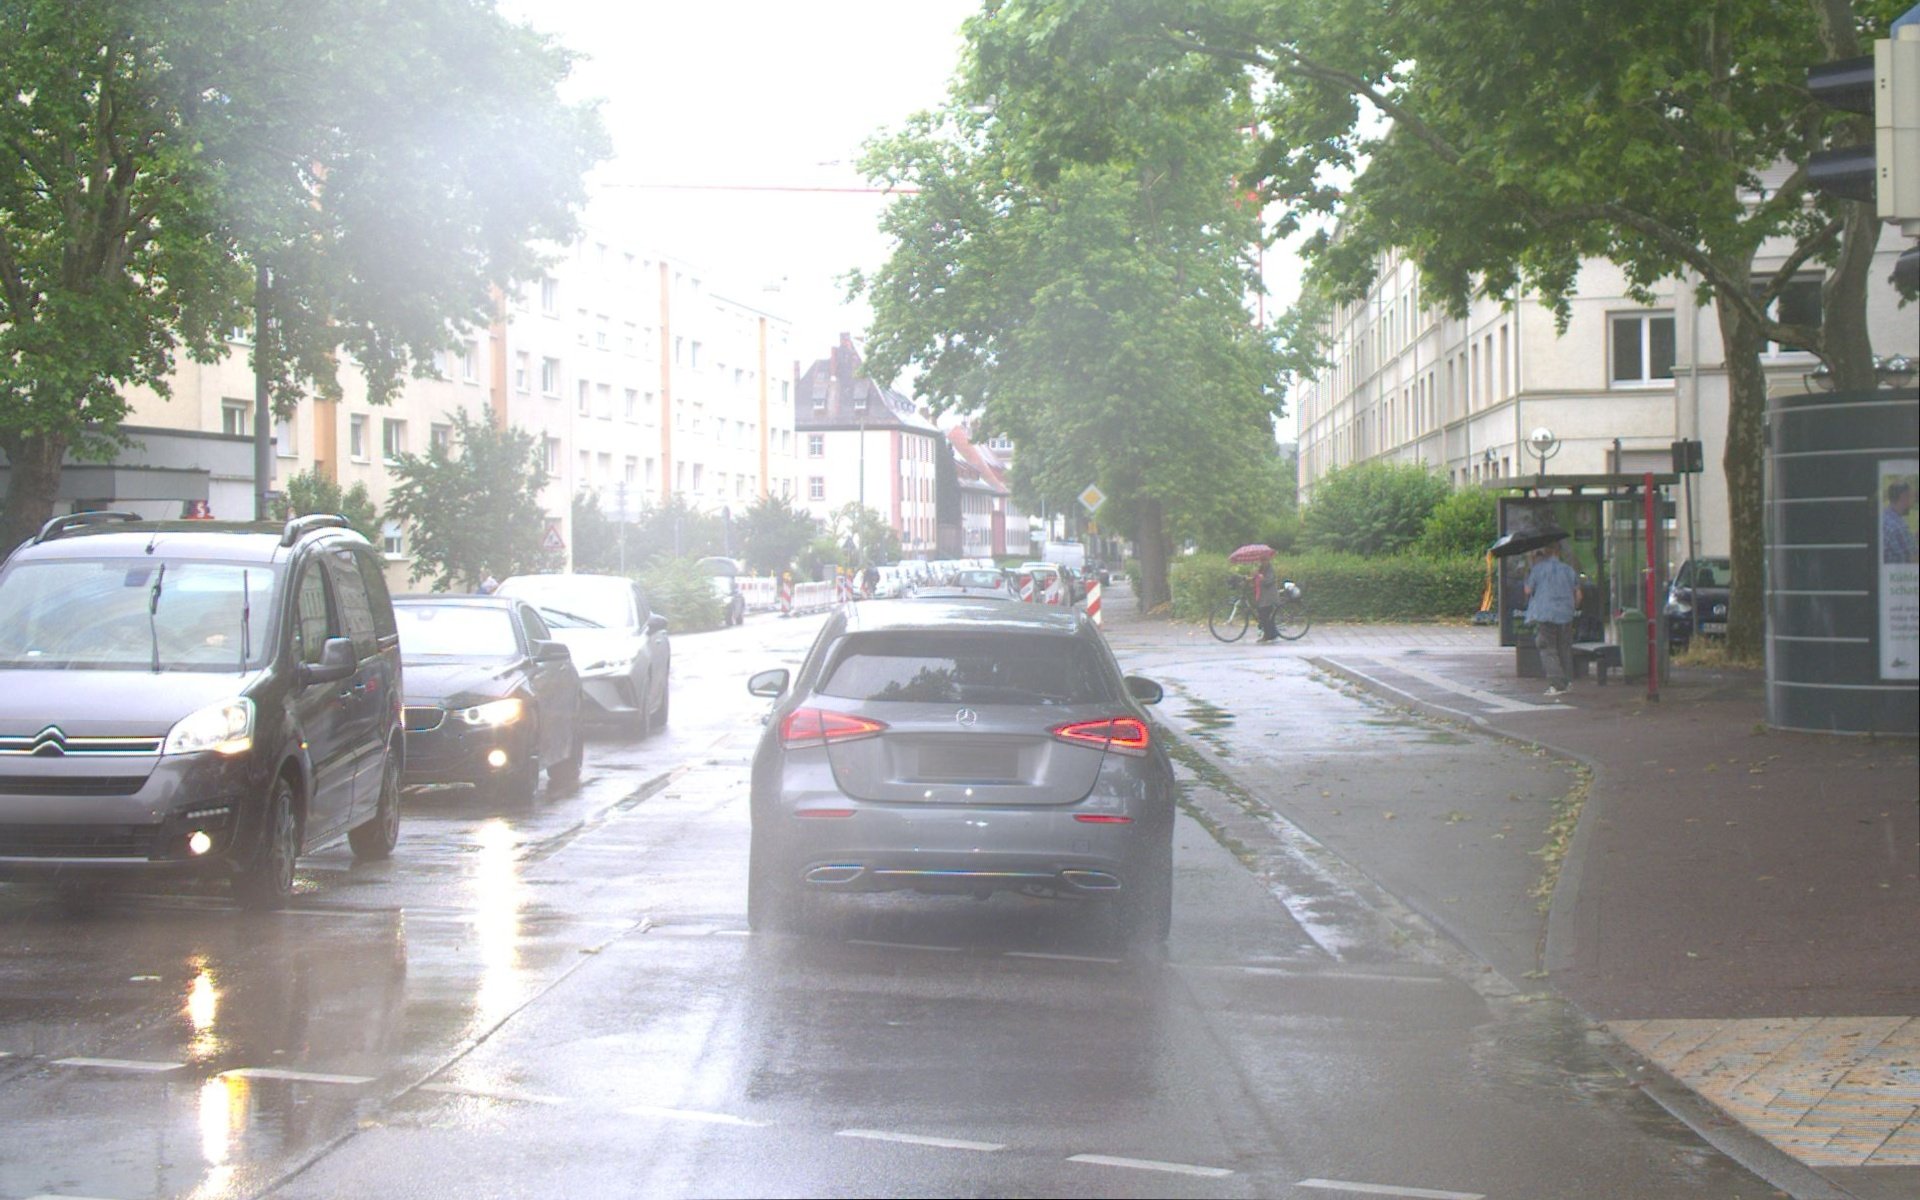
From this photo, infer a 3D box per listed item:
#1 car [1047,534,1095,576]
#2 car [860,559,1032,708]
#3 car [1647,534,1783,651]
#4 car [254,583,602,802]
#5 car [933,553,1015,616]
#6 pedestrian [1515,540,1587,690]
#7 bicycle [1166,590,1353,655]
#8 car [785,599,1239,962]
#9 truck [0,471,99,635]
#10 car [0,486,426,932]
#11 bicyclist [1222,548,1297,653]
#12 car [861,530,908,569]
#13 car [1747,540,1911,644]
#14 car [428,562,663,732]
[{"bbox_3d":[5.087,-2.052,156.889,2.047,1.830,4.791,-1,1,4],"label":"car"},{"bbox_3d":[-0.145,0.296,34.846,1.607,1.368,4.000,-1,1,0],"label":"car"},{"bbox_3d":[10.657,-0.075,48.402,1.689,1.546,3.520,-1,-1,15],"label":"car"},{"bbox_3d":[-3.625,0.586,24.129,1.742,1.385,4.362,1,0,0],"label":"car"},{"bbox_3d":[0.345,-0.414,88.684,1.993,1.568,4.000,-1,1,-1],"label":"car"},{"bbox_3d":[6.593,0.162,38.404,0.716,1.663,0.665,0,0,4],"label":"pedestrian"},{"bbox_3d":[5.432,0.403,62.317,3.205,1.108,1.054,-1,0,-18],"label":"bicycle"},{"bbox_3d":[0.199,0.720,15.450,1.791,1.368,3.507,1,1,0],"label":"car"},{"bbox_3d":[-22.656,-1.026,77.906,5.682,3.632,2.175,-1,0,4],"label":"truck"},{"bbox_3d":[-3.792,0.429,16.420,1.806,1.855,4.109,-1,1,0],"label":"car"},{"bbox_3d":[5.424,0.011,62.279,0.938,1.862,1.143,-1,0,-18],"label":"bicyclist"},{"bbox_3d":[-3.579,-2.412,164.307,1.890,1.830,4.000,-1,1,4],"label":"car"},{"bbox_3d":[14.838,-0.169,58.528,1.996,1.622,4.625,2,2,23],"label":"car"},{"bbox_3d":[-3.934,0.403,33.213,1.845,1.505,4.056,-1,1,-1],"label":"car"}]
